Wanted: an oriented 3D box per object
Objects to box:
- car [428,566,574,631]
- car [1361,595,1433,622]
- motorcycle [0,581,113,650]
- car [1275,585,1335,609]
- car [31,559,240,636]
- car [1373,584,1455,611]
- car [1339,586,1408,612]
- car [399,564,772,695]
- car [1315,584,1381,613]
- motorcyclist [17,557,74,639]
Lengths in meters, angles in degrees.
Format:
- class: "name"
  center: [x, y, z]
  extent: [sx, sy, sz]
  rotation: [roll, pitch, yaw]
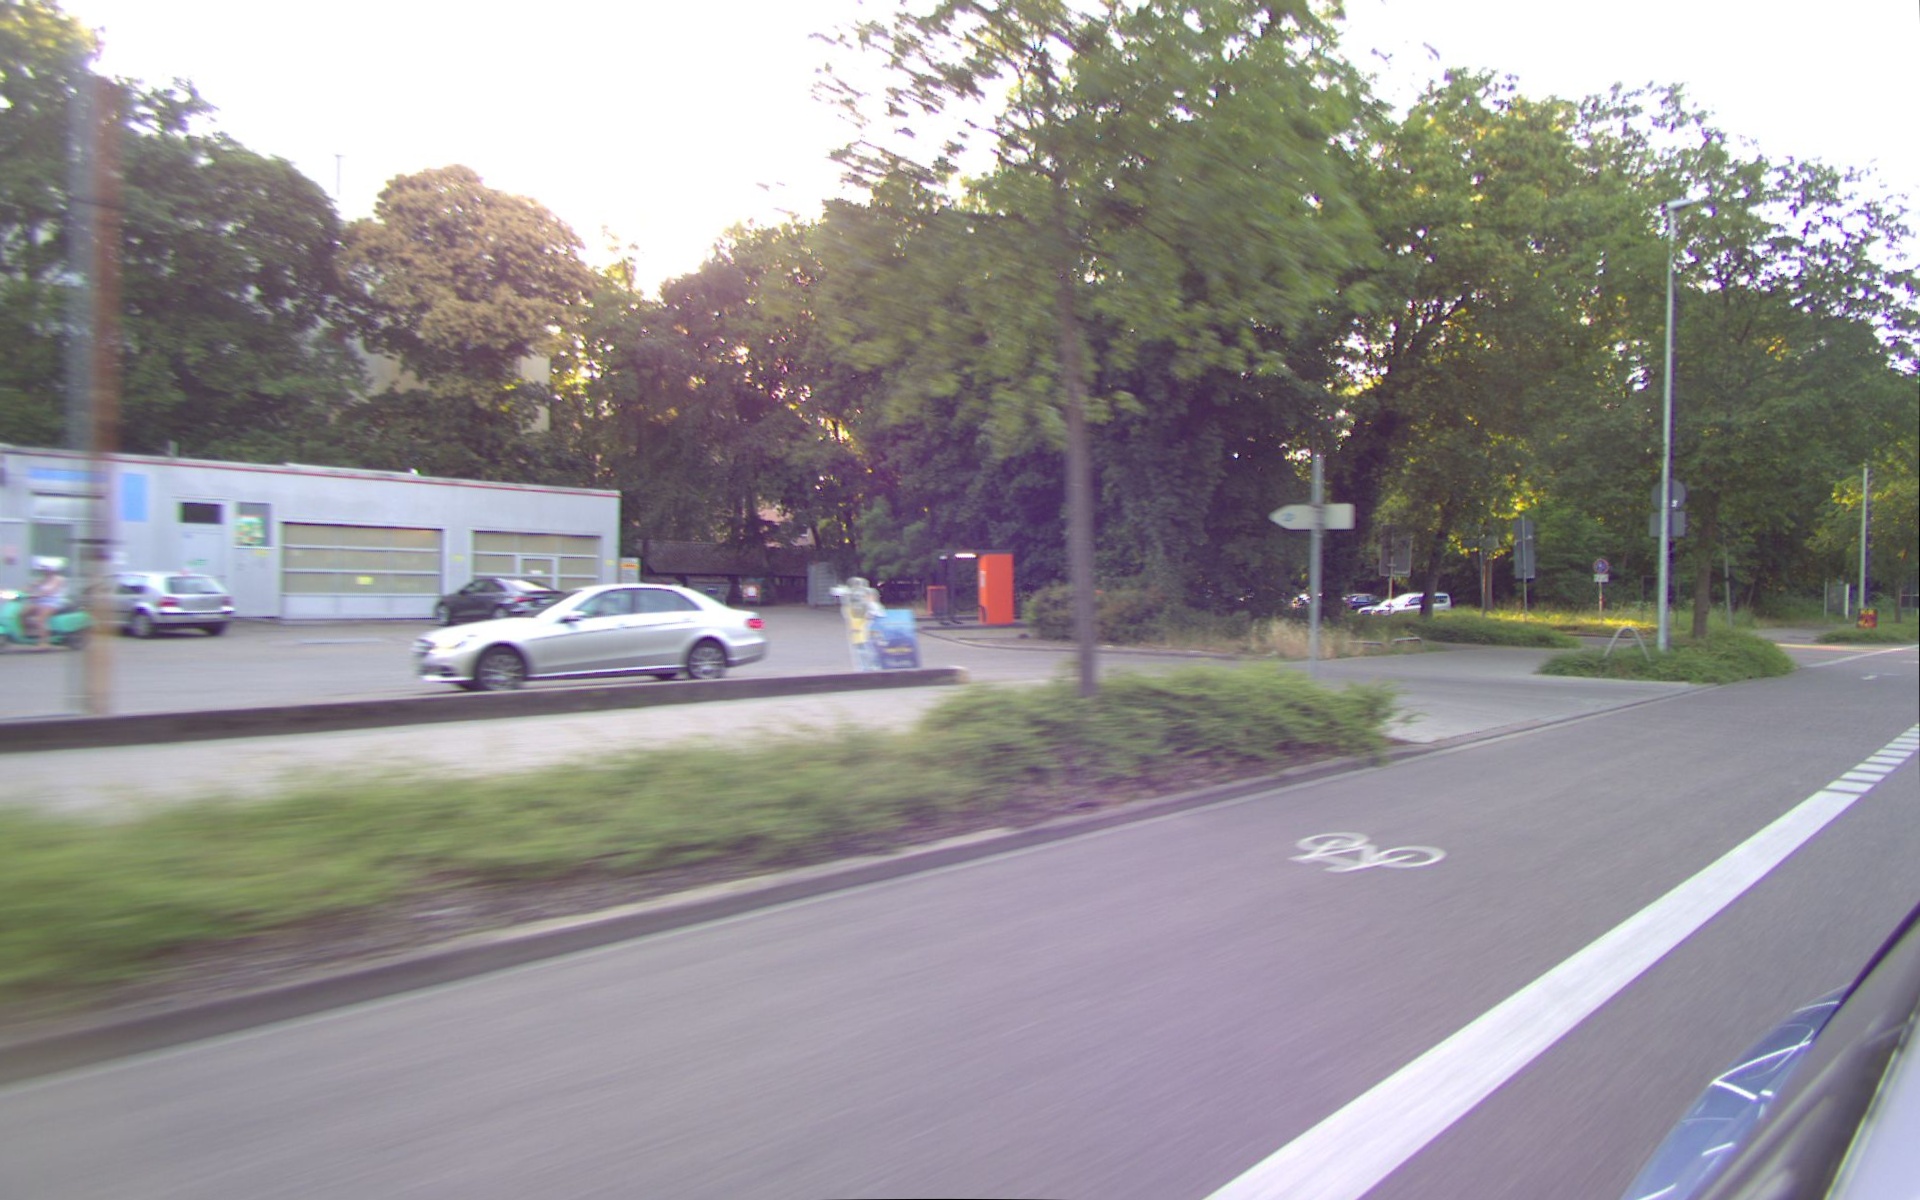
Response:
- class: "car"
  center: [-12.700, -0.097, 27.923]
  extent: [4.099, 1.540, 1.655]
  rotation: [3, 3, 31]
- class: "car"
  center: [25.367, 0.500, 58.802]
  extent: [3.567, 1.500, 1.544]
  rotation: [1, 1, -11]
- class: "motorcycle"
  center: [-16.740, 0.264, 18.515]
  extent: [0.621, 1.194, 1.837]
  rotation: [2, 1, 39]
- class: "car"
  center: [23.479, -0.228, 68.947]
  extent: [3.567, 1.563, 1.544]
  rotation: [1, 1, -11]
- class: "car"
  center: [-18.618, -0.105, 22.875]
  extent: [4.074, 1.540, 1.665]
  rotation: [2, 2, 16]
- class: "car"
  center: [25.243, -0.158, 56.305]
  extent: [3.916, 1.414, 1.544]
  rotation: [1, 1, -11]
- class: "car"
  center: [24.919, -0.047, 61.079]
  extent: [3.567, 1.500, 1.544]
  rotation: [1, 1, -11]
- class: "car"
  center: [-5.238, 0.360, 14.529]
  extent: [4.730, 1.603, 1.774]
  rotation: [0, 0, -37]
- class: "car"
  center: [24.398, -0.084, 63.675]
  extent: [3.567, 1.728, 1.544]
  rotation: [1, 1, -11]
- class: "motorcyclist"
  center: [-16.736, -0.046, 18.517]
  extent: [0.608, 1.453, 0.687]
  rotation: [1, 1, 39]
